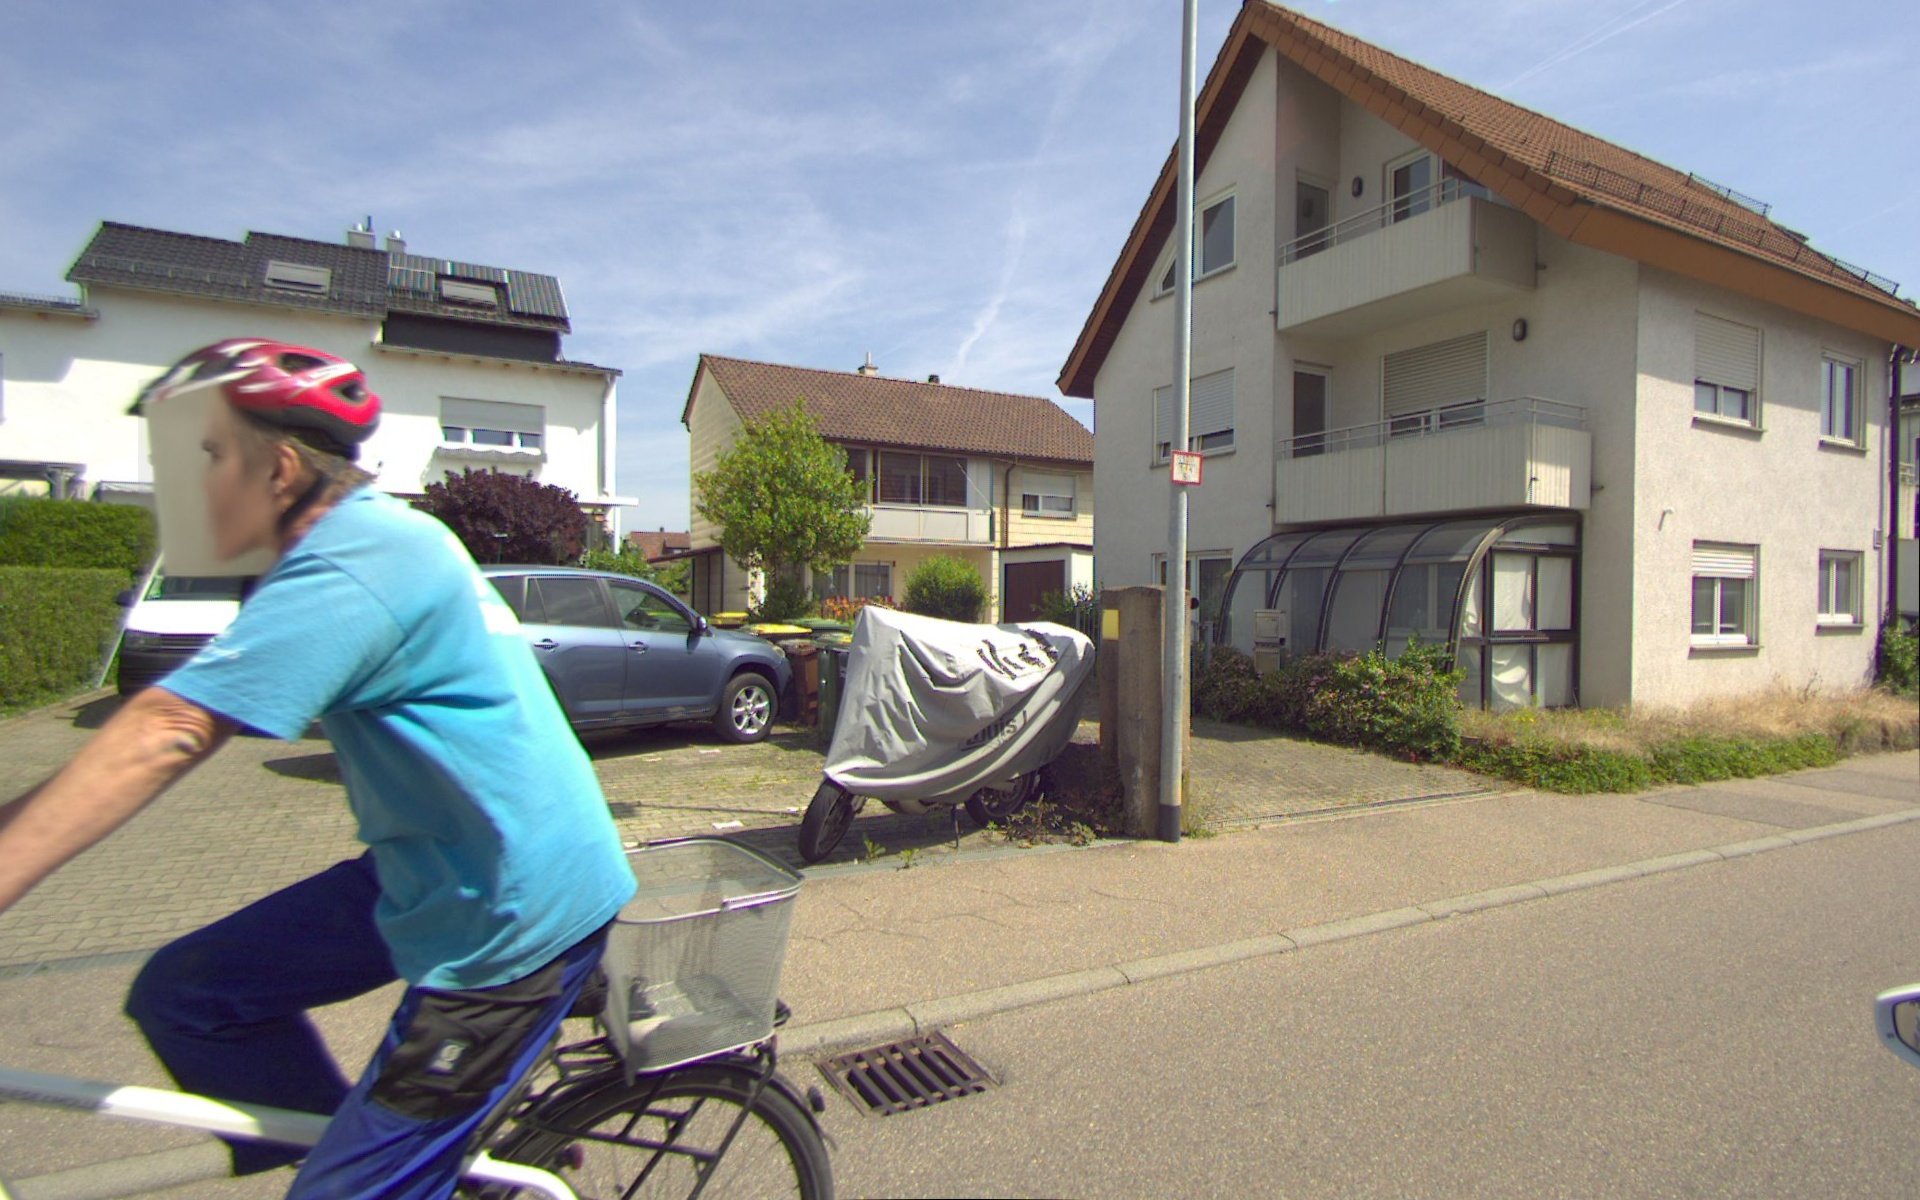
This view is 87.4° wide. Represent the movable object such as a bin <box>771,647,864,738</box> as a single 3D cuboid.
[{"bbox_3d":[-1.584,0.999,11.130,0.765,0.917,0.795,1,0,-32],"label":"movable object such as a bin"}]

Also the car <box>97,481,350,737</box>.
[{"bbox_3d":[-8.823,0.105,12.475,1.942,2.526,4.780,1,0,-30],"label":"car"}]

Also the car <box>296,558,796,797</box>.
[{"bbox_3d":[-3.547,0.578,9.256,1.745,1.700,3.925,1,-1,36],"label":"car"}]

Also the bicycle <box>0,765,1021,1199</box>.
[{"bbox_3d":[-1.001,0.913,1.374,2.163,1.147,0.667,1,-1,-30],"label":"bicycle"}]

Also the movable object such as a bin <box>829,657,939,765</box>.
[{"bbox_3d":[-0.729,1.023,9.506,0.764,0.917,0.796,1,0,-30],"label":"movable object such as a bin"}]

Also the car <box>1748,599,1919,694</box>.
[{"bbox_3d":[18.137,0.894,20.213,1.694,1.598,3.095,1,3,-30],"label":"car"}]

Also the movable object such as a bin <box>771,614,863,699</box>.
[{"bbox_3d":[-1.964,0.746,13.718,0.850,1.055,1.179,1,0,-31],"label":"movable object such as a bin"}]

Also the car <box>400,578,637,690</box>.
[{"bbox_3d":[-7.457,0.505,17.243,1.742,1.701,3.348,2,1,30],"label":"car"}]

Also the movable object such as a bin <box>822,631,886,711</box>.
[{"bbox_3d":[-1.305,0.854,12.306,0.473,0.910,0.808,1,1,-31],"label":"movable object such as a bin"}]

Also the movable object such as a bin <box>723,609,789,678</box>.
[{"bbox_3d":[-3.327,0.696,16.398,0.768,1.075,0.781,1,1,-39],"label":"movable object such as a bin"}]

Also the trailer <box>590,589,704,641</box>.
[{"bbox_3d":[-9.211,0.401,29.296,2.022,1.325,4.729,1,0,-32],"label":"trailer"}]

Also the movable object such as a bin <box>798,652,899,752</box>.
[{"bbox_3d":[-1.141,1.009,10.209,0.764,0.917,0.796,1,0,-30],"label":"movable object such as a bin"}]

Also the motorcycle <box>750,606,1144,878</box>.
[{"bbox_3d":[-0.032,0.768,6.159,2.325,1.411,0.780,1,0,-30],"label":"motorcycle"}]

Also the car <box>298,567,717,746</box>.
[{"bbox_3d":[-5.049,0.567,11.614,1.709,1.700,4.084,1,-1,43],"label":"car"}]

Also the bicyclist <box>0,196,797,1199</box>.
[{"bbox_3d":[-0.813,0.538,1.414,0.931,1.823,0.709,1,0,-31],"label":"bicyclist"}]
